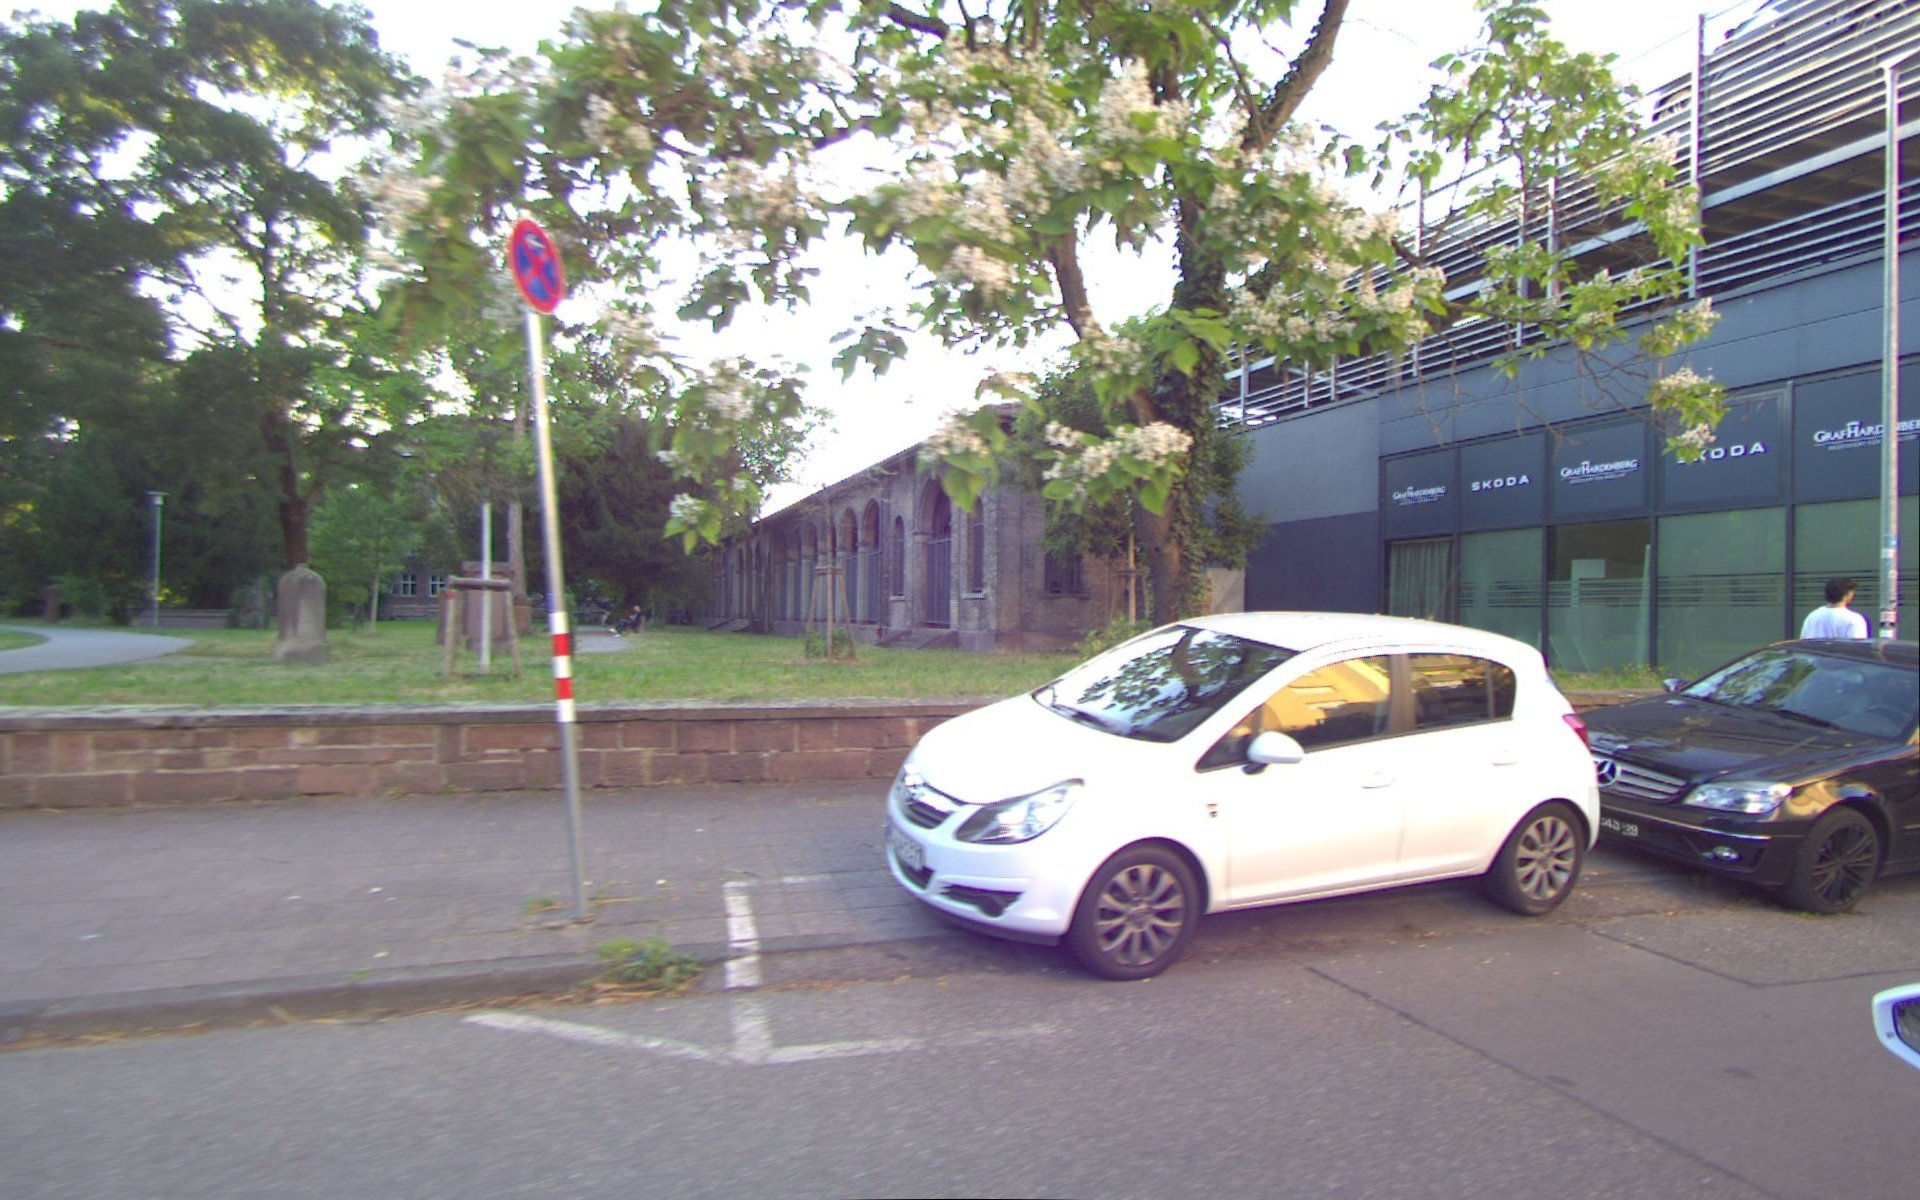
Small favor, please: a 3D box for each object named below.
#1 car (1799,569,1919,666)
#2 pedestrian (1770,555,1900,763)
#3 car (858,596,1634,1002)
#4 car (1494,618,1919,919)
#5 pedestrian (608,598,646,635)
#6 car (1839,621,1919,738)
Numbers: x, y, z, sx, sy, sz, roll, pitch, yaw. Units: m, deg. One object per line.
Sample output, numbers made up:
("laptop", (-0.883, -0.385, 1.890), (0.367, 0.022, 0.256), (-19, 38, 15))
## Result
("car", (17.853, 0.338, 18.719), (3.678, 1.680, 1.697), (1, -1, -17))
("pedestrian", (8.345, 0.543, 9.598), (0.610, 1.903, 0.721), (0, -1, -15))
("car", (1.529, 0.790, 5.437), (3.828, 1.535, 1.658), (0, 2, -23))
("car", (5.990, 0.929, 6.717), (4.343, 1.435, 1.660), (1, 4, -18))
("pedestrian", (-13.076, 0.644, 39.513), (1.259, 1.445, 1.235), (0, -1, -11))
("car", (15.540, 1.168, 15.225), (3.814, 1.672, 1.592), (1, -1, -17))
